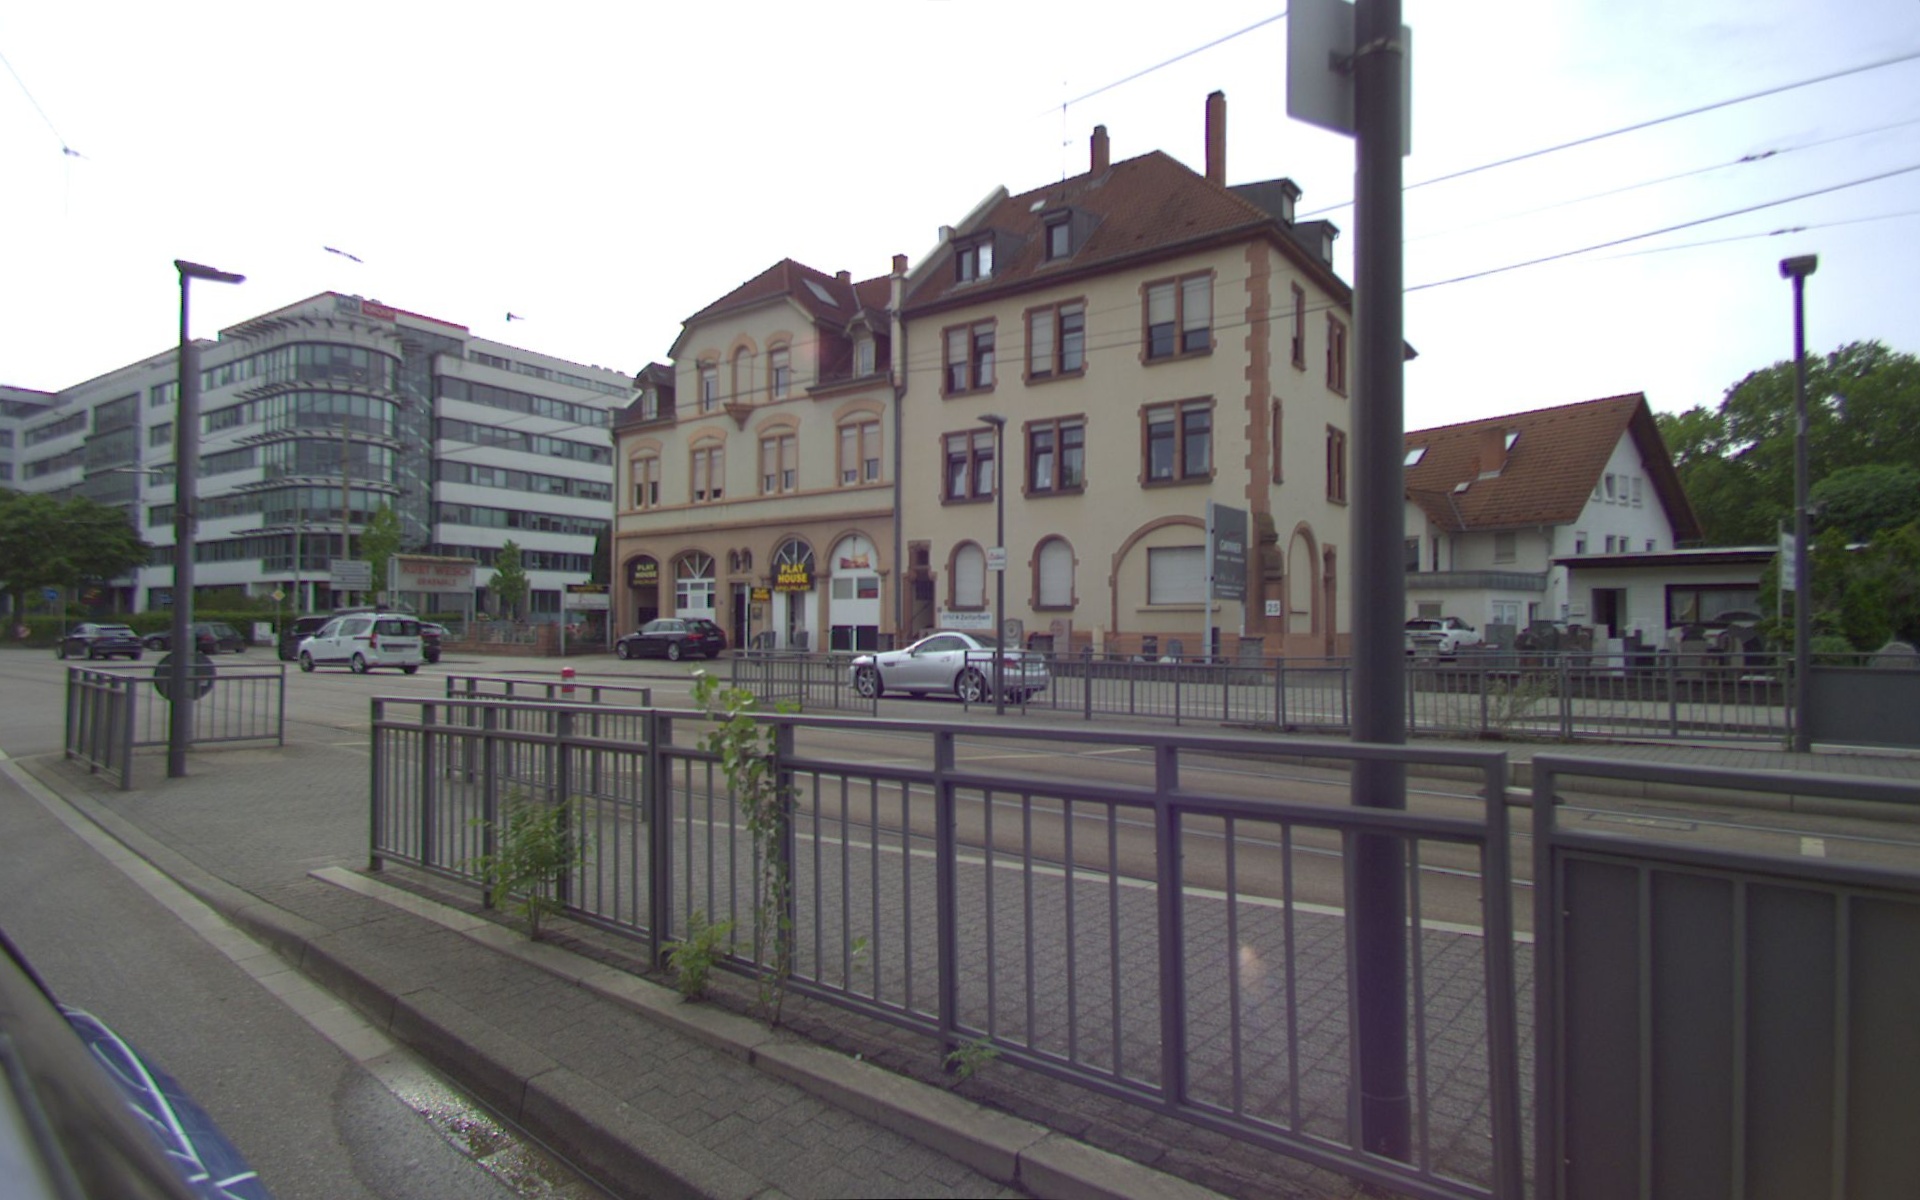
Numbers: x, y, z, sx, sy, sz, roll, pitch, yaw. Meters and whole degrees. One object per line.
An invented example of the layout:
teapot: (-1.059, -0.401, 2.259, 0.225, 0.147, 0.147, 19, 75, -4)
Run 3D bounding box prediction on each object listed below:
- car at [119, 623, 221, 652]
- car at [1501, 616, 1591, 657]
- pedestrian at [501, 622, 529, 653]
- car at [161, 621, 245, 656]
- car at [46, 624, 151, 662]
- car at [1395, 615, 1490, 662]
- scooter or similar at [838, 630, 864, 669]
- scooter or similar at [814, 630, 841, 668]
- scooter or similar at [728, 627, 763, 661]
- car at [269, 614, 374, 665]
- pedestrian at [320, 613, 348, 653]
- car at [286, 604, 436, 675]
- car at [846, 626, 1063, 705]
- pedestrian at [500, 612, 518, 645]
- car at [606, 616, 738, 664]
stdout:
car: (-40.852, 1.922, 52.476, 3.918, 1.462, 1.822, 1, -2, -30)
car: (22.360, 1.348, 38.573, 3.589, 1.446, 1.722, 0, -1, -37)
pedestrian: (-29.264, 2.470, 66.554, 1.180, 2.029, 1.207, 0, -2, 22)
car: (-35.591, 1.839, 47.721, 1.765, 1.542, 4.153, 2, -3, -16)
car: (-34.798, 1.729, 40.848, 4.407, 1.439, 1.868, 0, -3, 30)
car: (16.113, 1.234, 33.713, 3.820, 1.424, 1.694, 0, -1, -45)
scooter or similar: (-3.243, 1.455, 30.215, 0.521, 1.110, 1.175, 0, -1, 7)
scooter or similar: (-4.003, 1.461, 30.565, 0.521, 1.110, 1.175, 0, -1, 7)
scooter or similar: (-7.439, 1.507, 35.111, 0.526, 1.110, 1.165, -1, 1, 32)
car: (-27.038, 1.610, 42.782, 5.174, 2.029, 1.969, -1, 0, 36)
pedestrian: (-29.243, 1.550, 47.280, 1.058, 1.839, 0.796, -1, -1, 38)
car: (-18.033, 1.158, 30.436, 4.506, 2.004, 1.871, 0, -2, 30)
car: (-0.150, 1.178, 19.123, 3.825, 1.308, 1.734, -1, -2, 36)
pedestrian: (-24.986, 1.574, 56.049, 0.761, 1.787, 0.628, -1, -1, 40)
car: (-10.464, 1.398, 36.584, 4.893, 1.504, 1.976, -1, 2, 37)
